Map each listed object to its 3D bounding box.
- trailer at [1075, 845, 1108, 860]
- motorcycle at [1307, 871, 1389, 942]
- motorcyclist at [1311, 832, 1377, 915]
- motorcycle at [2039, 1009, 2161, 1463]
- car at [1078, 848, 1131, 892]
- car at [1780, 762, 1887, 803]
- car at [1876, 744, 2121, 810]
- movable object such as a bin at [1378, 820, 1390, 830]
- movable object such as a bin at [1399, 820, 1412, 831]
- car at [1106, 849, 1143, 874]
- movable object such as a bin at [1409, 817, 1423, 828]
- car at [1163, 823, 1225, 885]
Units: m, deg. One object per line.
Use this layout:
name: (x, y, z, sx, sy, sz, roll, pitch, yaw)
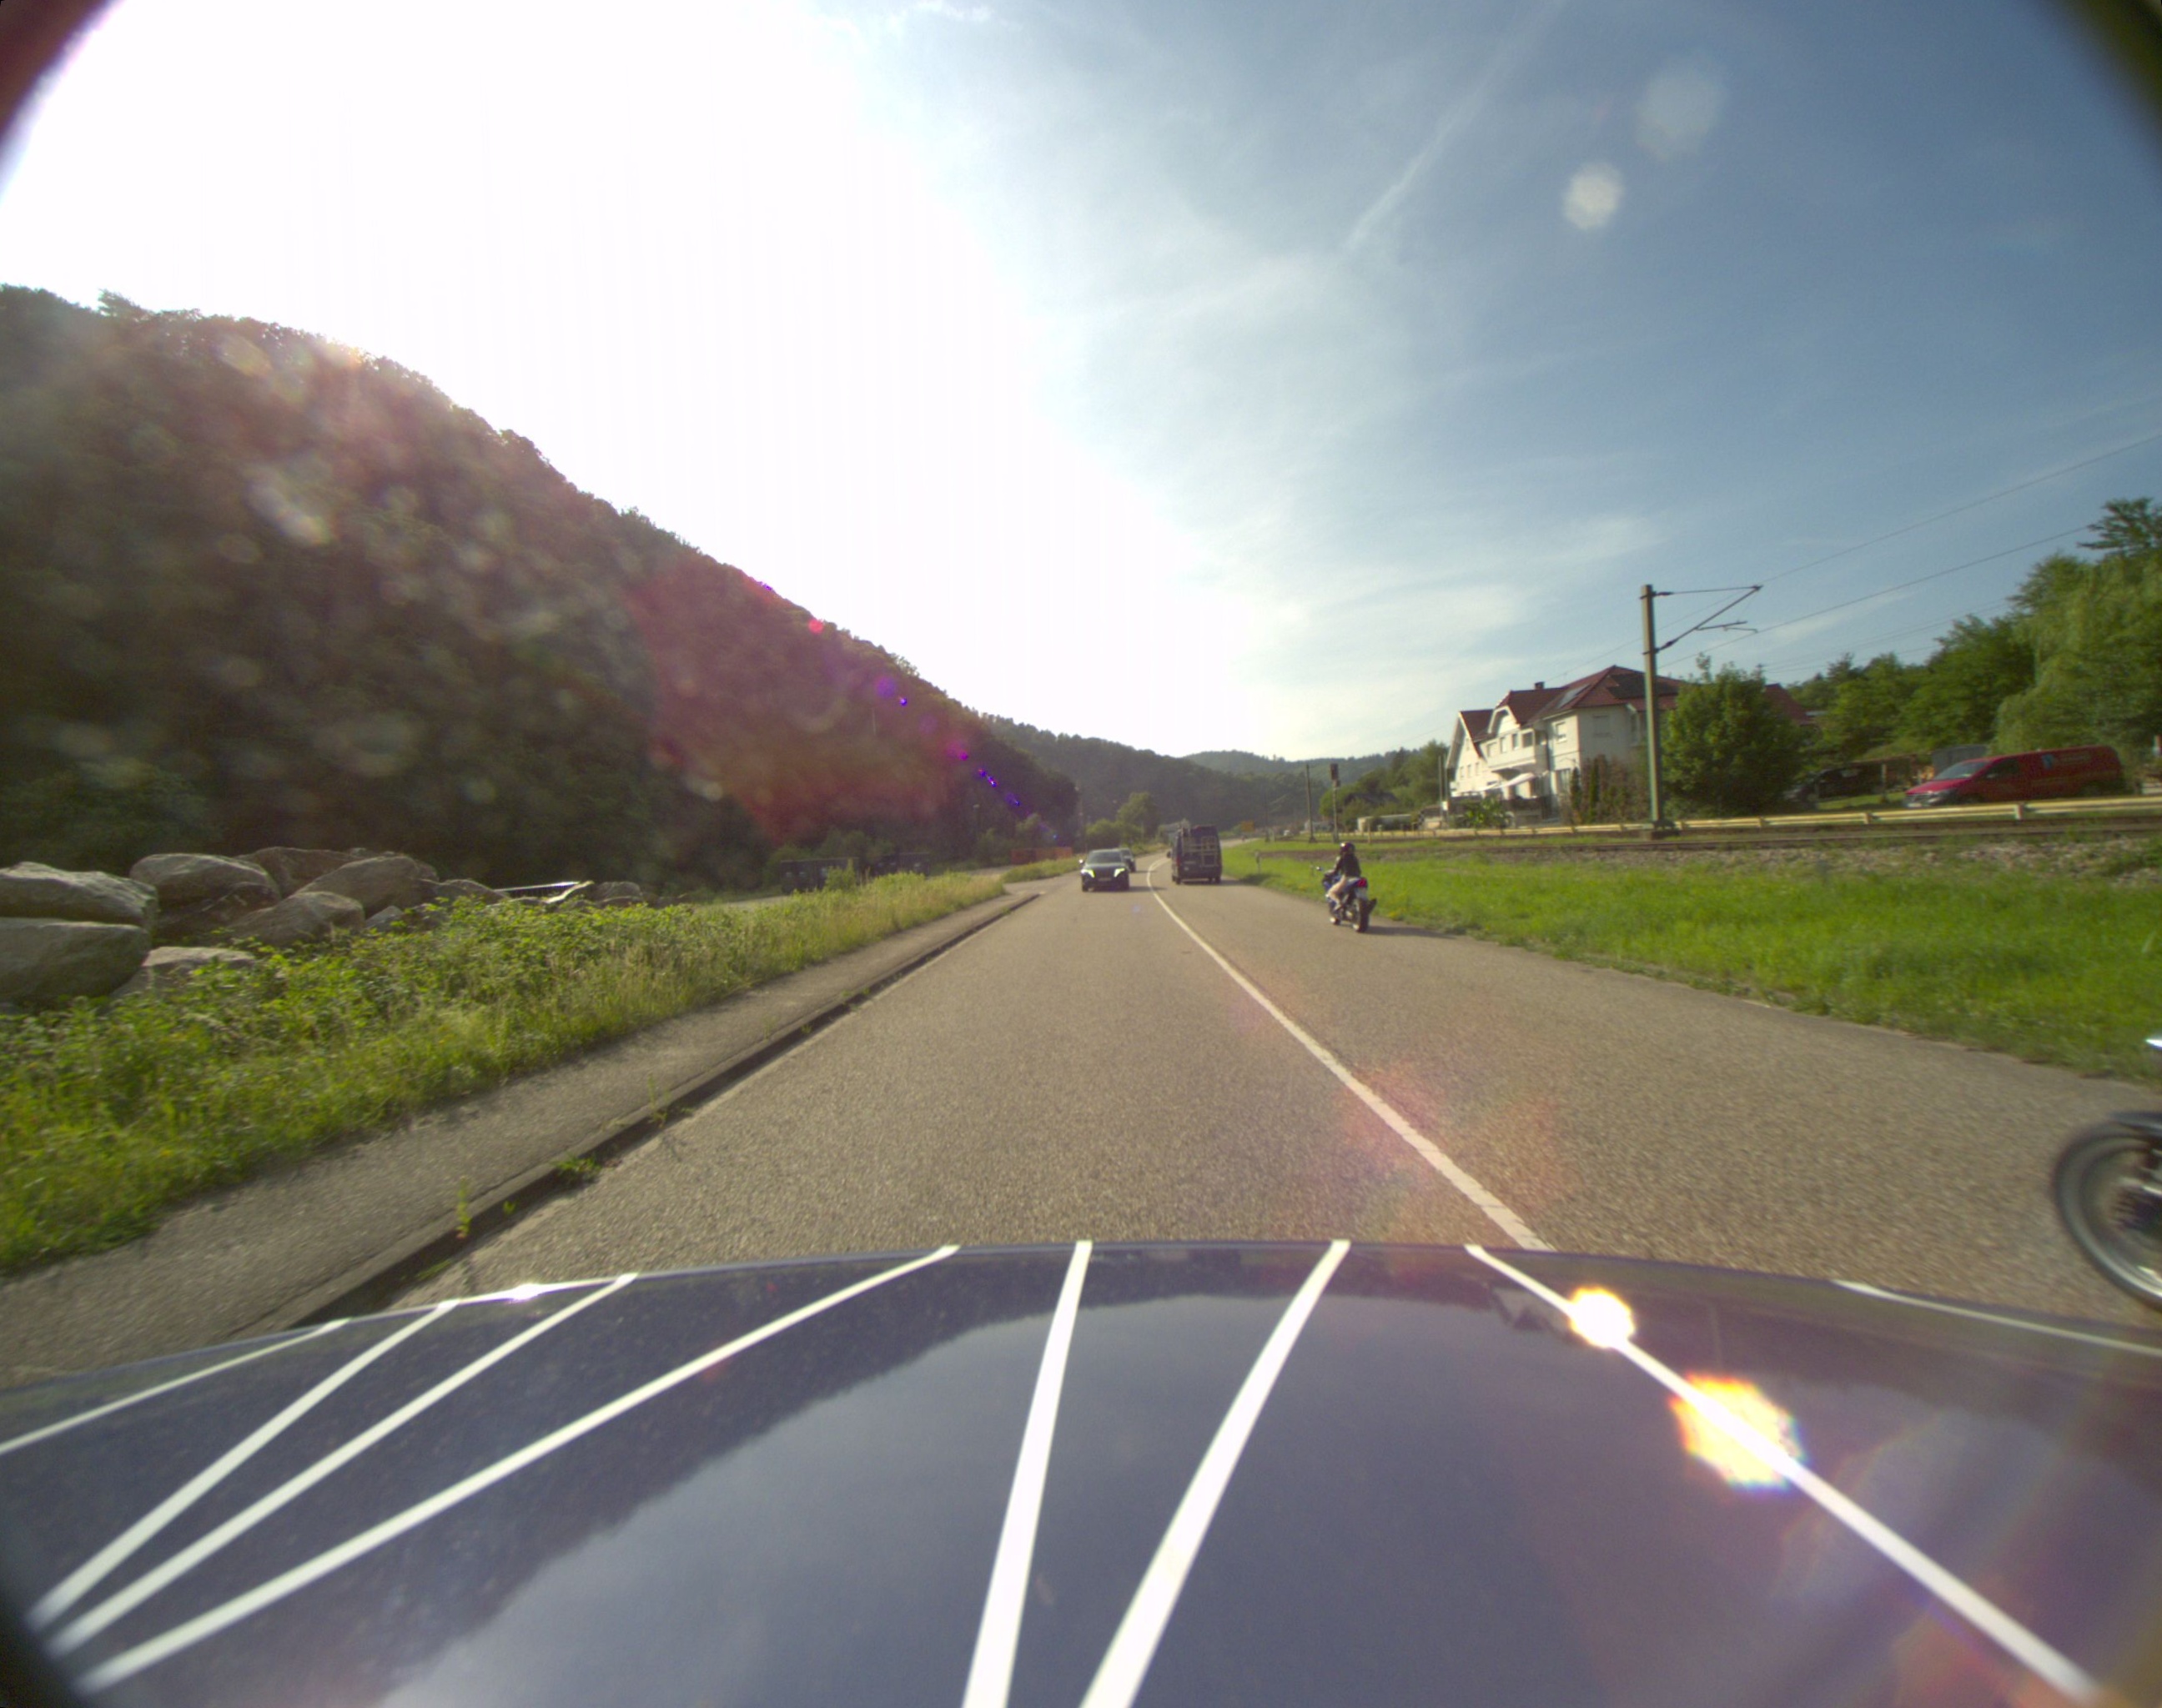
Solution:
trailer: (1.567, -0.229, 102.831, 2.797, 1.466, 9.892, -6, 0, 10)
motorcycle: (4.752, 0.896, 13.683, 0.864, 1.123, 1.969, -2, 0, 4)
motorcyclist: (4.725, 0.348, 13.727, 0.845, 1.414, 0.964, -3, 0, 4)
motorcycle: (3.204, 1.003, 1.134, 0.864, 1.123, 2.125, -2, 0, 1)
car: (1.048, 0.602, 31.929, 1.998, 1.661, 5.511, 0, 1, 3)
car: (44.206, -4.196, 44.729, 3.994, 1.780, 1.821, -7, 0, 12)
car: (31.719, -2.606, 26.481, 4.973, 1.682, 2.457, -4, 1, 11)
movable object such as a bin: (38.808, -3.732, 97.257, 1.142, 1.185, 1.093, -4, 1, 4)
movable object such as a bin: (36.587, -3.232, 85.674, 1.092, 1.185, 1.144, -4, 1, 9)
car: (3.022, 0.471, 52.384, 1.917, 1.455, 4.002, -5, 1, 11)
movable object such as a bin: (37.705, -3.532, 85.446, 1.092, 1.185, 1.144, -4, 1, 9)
car: (5.063, -0.021, 34.867, 2.132, 2.600, 5.479, -2, 1, 2)
